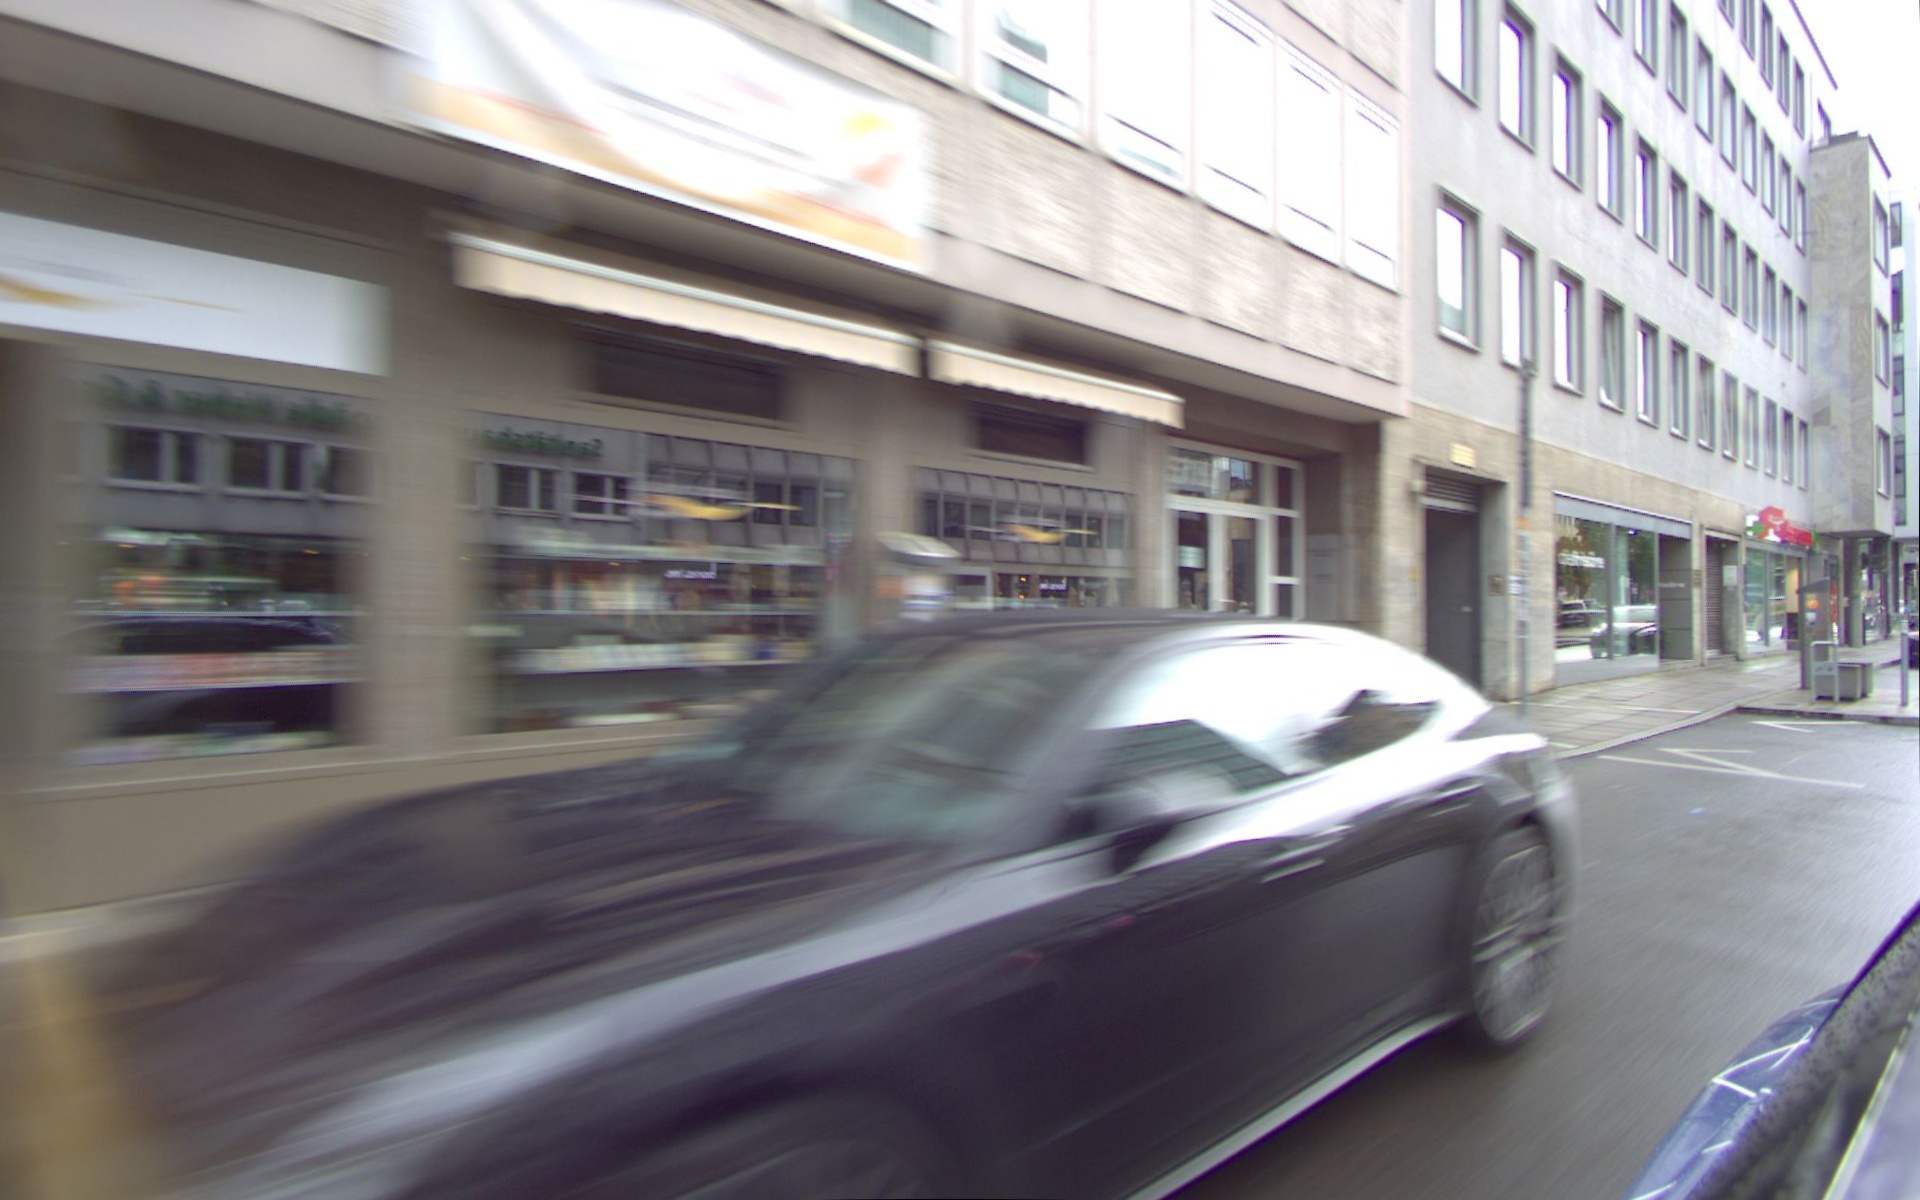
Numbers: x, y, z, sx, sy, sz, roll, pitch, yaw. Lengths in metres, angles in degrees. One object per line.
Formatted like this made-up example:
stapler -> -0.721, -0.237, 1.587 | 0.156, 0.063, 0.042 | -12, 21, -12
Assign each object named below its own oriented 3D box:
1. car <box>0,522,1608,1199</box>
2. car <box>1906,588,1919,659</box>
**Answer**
car -> 0.019, 0.701, 3.001 | 4.491, 1.614, 1.997 | -1, 1, -40
car -> 23.913, 0.527, 23.776 | 4.196, 1.614, 1.997 | -1, 1, -40
